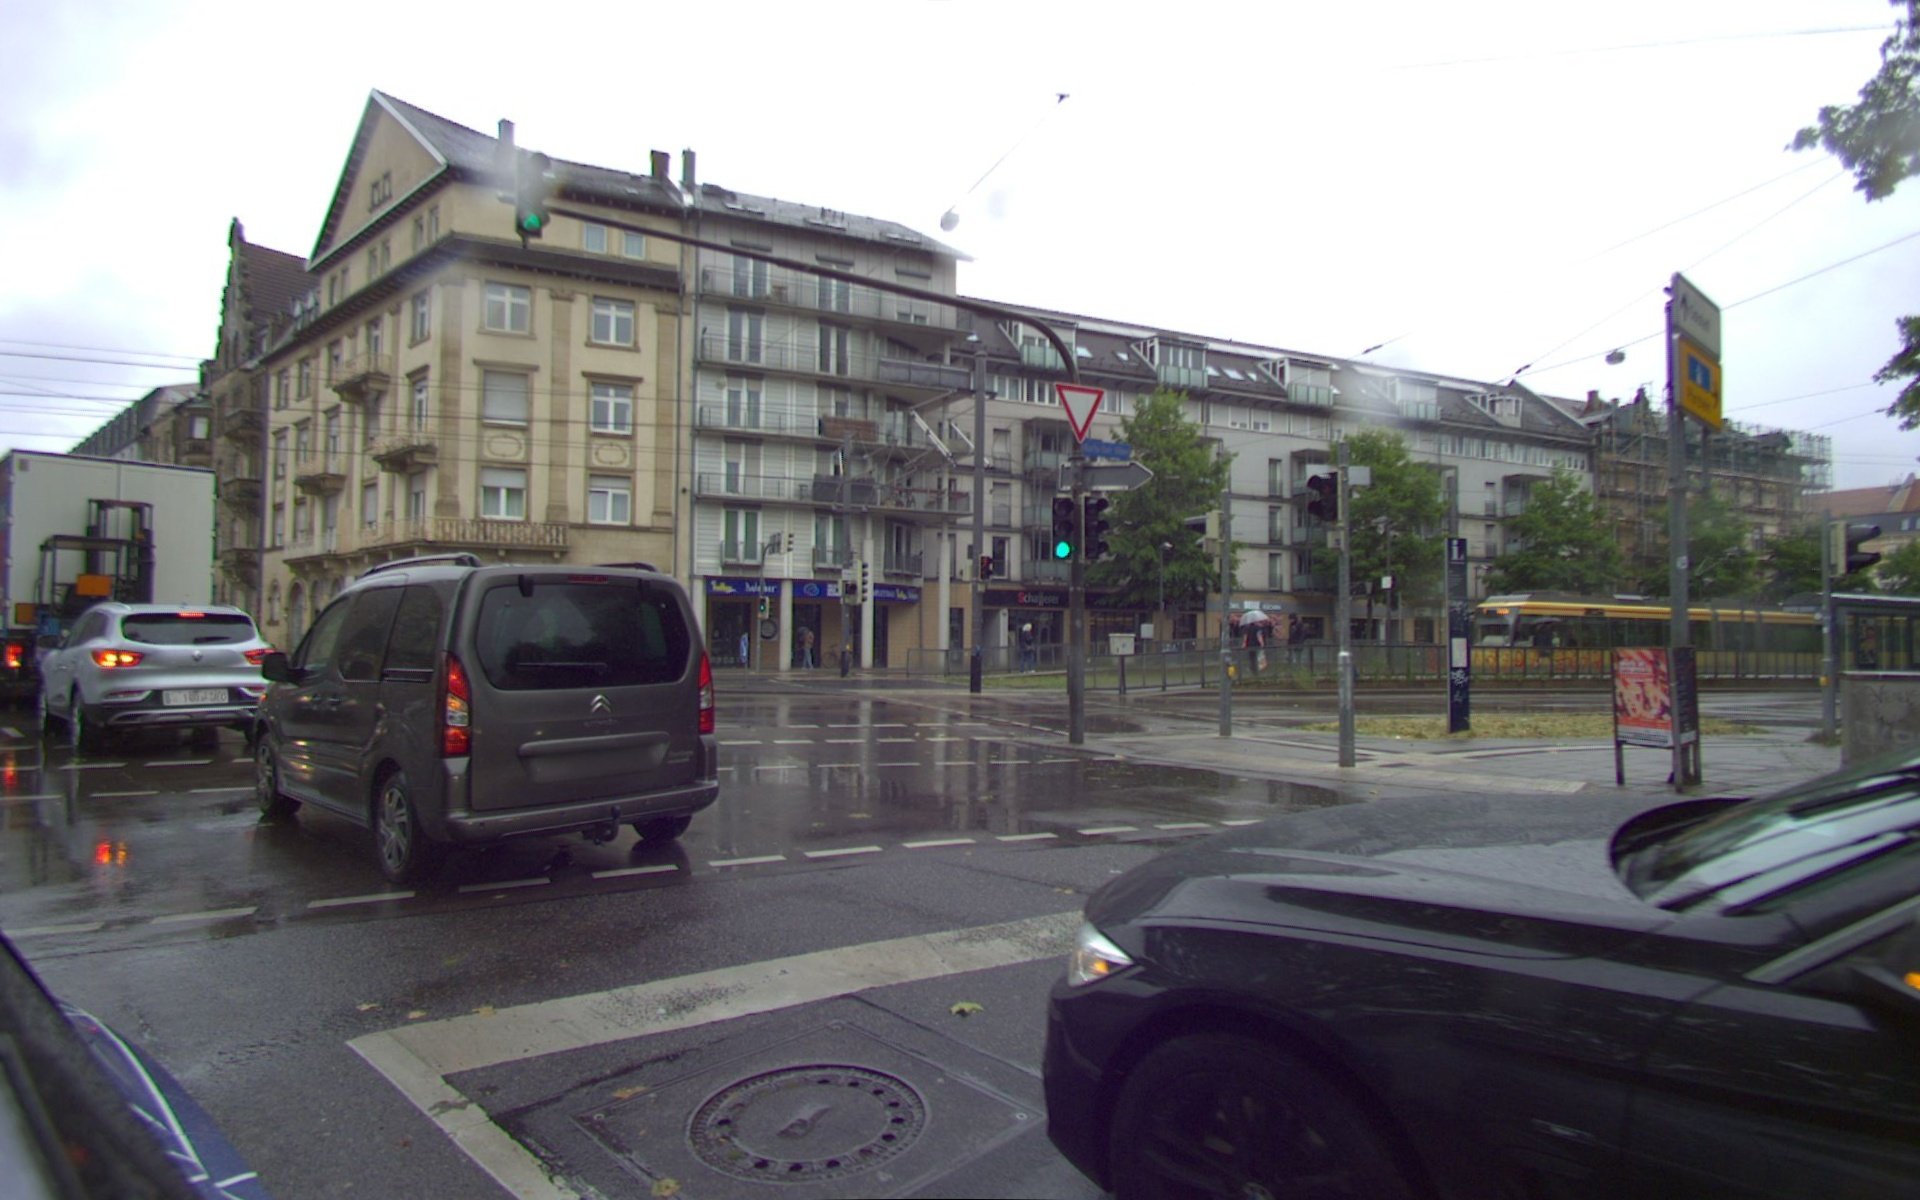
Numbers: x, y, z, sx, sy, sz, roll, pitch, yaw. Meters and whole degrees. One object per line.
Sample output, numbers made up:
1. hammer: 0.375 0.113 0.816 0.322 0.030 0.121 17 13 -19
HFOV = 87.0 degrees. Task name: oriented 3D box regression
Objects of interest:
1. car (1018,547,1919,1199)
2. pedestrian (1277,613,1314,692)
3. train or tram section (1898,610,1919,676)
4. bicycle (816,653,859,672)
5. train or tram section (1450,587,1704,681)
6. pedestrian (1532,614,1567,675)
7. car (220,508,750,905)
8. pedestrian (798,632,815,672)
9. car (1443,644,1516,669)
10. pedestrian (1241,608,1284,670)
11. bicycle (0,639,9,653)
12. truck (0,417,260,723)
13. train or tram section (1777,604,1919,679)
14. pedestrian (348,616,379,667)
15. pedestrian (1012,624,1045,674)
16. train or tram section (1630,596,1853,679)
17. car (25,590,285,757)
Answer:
1. car: 2.306 0.644 1.346 4.362 1.400 1.723 -1 -1 42
2. pedestrian: 9.017 1.407 27.221 0.690 2.093 0.639 2 -3 -29
3. train or tram section: 56.785 2.466 55.842 11.376 3.531 3.082 2 -3 -24
4. bicycle: -5.746 2.955 47.494 1.894 0.873 0.583 2 -3 -22
5. train or tram section: 25.664 1.505 41.915 11.376 3.531 3.082 2 -3 -24
6. pedestrian: 18.420 1.396 31.631 0.667 1.852 0.642 3 -4 -25
7. car: -3.398 0.572 6.854 4.109 1.876 1.787 -2 -3 42
8. pedestrian: -6.842 2.315 45.041 0.601 1.794 0.501 2 -3 -24
9. car: 30.871 3.379 60.172 3.930 1.431 1.831 2 -3 -26
10. pedestrian: 8.318 1.082 27.851 0.803 1.661 0.796 3 -4 -25
11. bicycle: -75.090 3.569 78.680 0.544 1.081 1.667 -2 -1 38
12. truck: -15.691 -0.237 17.796 10.308 4.056 2.817 -2 -4 40
13. train or tram section: 46.422 2.146 51.189 11.376 3.531 3.082 2 -3 -24
14. pedestrian: -23.601 1.638 40.046 0.907 1.980 0.701 2 0 -42
15. pedestrian: 2.330 1.675 34.400 0.743 1.661 0.840 3 -4 -28
16. train or tram section: 36.048 1.810 46.577 11.376 3.531 3.082 2 -3 -24
17. car: -9.495 0.782 11.831 3.999 1.616 1.723 -2 -3 42
